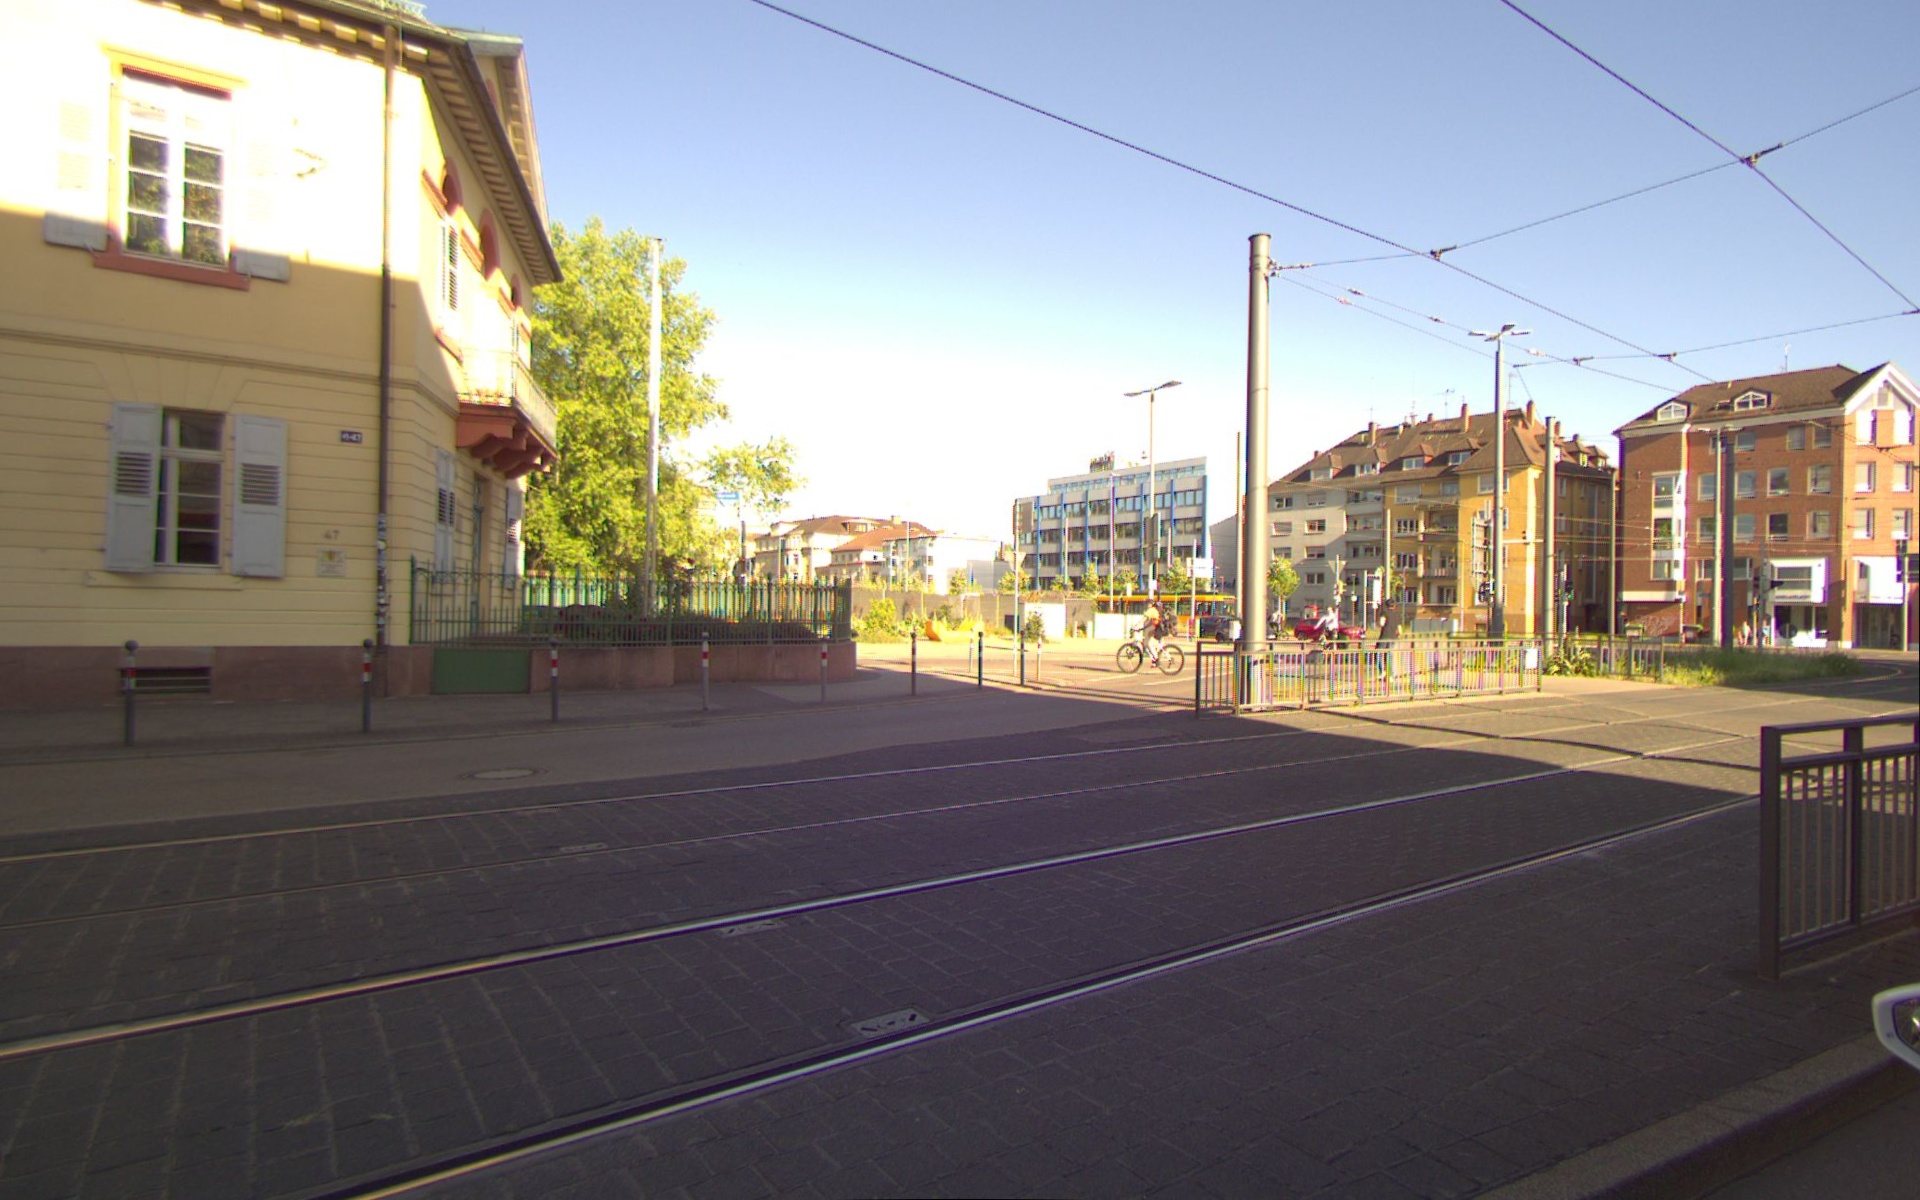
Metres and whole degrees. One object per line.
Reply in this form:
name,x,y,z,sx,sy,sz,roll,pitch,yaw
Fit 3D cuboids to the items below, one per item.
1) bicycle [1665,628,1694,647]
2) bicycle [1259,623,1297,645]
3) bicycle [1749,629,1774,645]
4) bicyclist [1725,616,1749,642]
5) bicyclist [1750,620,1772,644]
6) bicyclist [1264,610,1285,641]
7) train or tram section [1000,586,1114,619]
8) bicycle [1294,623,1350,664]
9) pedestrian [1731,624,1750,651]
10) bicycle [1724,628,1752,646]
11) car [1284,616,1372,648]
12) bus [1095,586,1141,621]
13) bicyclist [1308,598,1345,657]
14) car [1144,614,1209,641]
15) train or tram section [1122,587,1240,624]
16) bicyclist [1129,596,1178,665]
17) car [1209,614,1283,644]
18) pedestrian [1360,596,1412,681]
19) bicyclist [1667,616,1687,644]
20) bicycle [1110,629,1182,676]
bicycle,39.726,2.061,55.467,2.220,0.984,0.444,2,0,-31
bicycle,18.926,2.008,59.825,0.542,1.230,2.168,2,0,-41
bicycle,50.370,2.335,63.127,1.669,0.994,0.403,2,0,-22
bicyclist,45.527,1.701,58.860,0.688,1.523,0.894,2,0,-30
bicyclist,50.356,1.990,63.154,0.958,1.490,0.702,1,0,-22
bicyclist,18.769,1.518,60.008,0.785,1.832,0.892,2,0,-41
train or tram section,9.782,0.197,103.880,2.713,3.172,13.550,2,0,-41
bicycle,11.245,1.355,31.181,1.831,1.238,0.482,2,0,-28
pedestrian,53.185,2.561,68.450,0.737,1.845,0.781,2,0,-28
bicycle,45.589,2.166,58.869,2.220,0.984,0.521,2,0,-31
car,21.876,1.880,59.897,1.984,1.723,4.545,2,0,-41
bus,15.315,0.332,97.413,2.750,3.172,3.484,2,0,-42
bicyclist,11.405,0.855,31.267,0.743,1.783,0.753,2,0,-27
car,14.751,1.865,68.571,1.895,1.708,3.916,2,0,-41
train or tram section,19.995,0.445,91.703,2.781,3.172,11.140,2,0,-39
bicyclist,4.478,0.699,23.257,1.025,1.542,0.391,2,0,31
car,16.446,1.639,57.838,1.632,1.546,3.821,2,0,-39
pedestrian,8.679,0.775,20.456,0.764,1.703,0.588,2,0,-26
bicyclist,39.521,1.637,55.349,0.688,1.523,0.630,2,0,-30
bicycle,4.312,1.213,23.348,1.574,1.007,0.403,2,0,31
